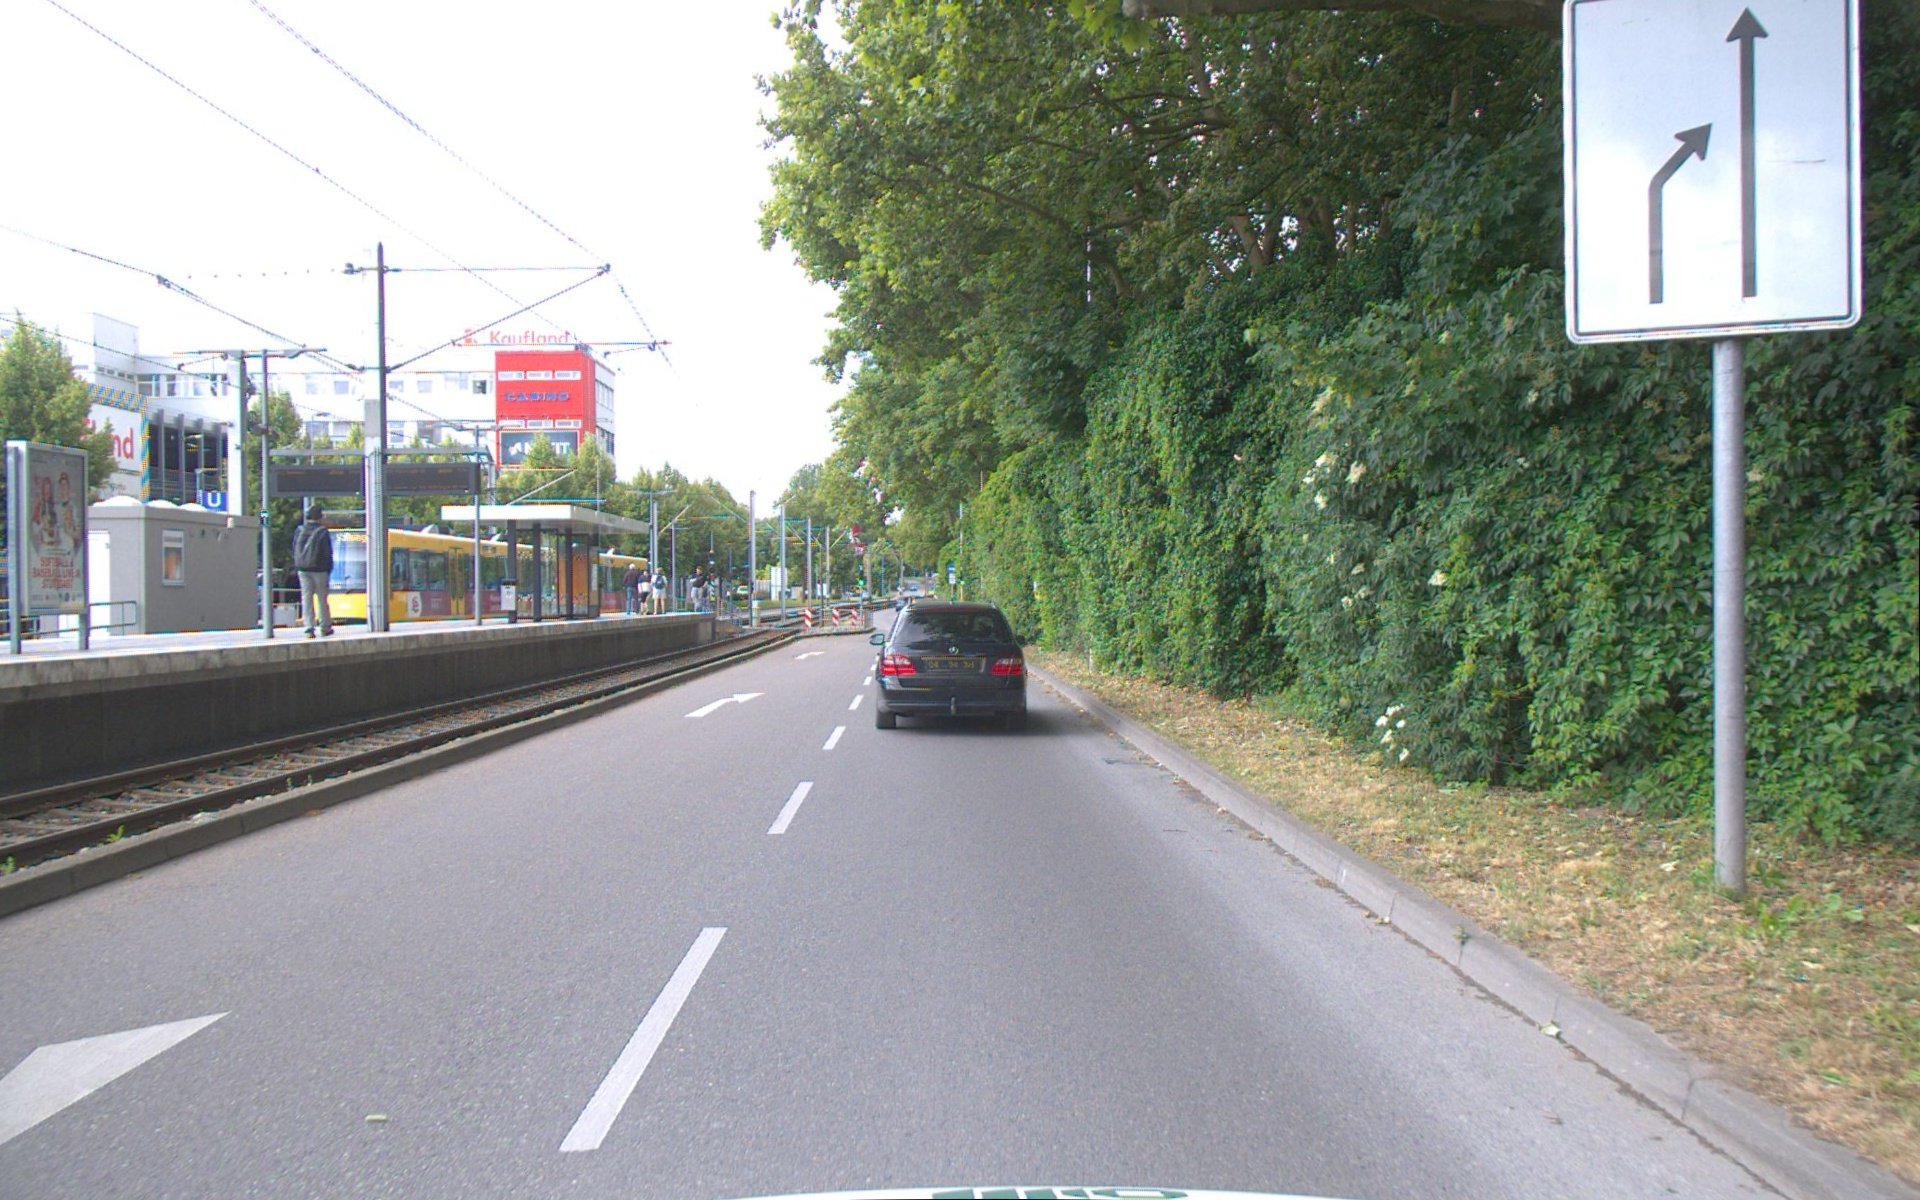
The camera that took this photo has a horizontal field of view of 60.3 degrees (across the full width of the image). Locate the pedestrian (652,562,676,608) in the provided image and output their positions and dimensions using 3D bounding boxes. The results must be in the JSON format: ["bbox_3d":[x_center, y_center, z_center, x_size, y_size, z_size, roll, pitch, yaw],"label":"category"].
[{"bbox_3d":[-9.830,-0.492,54.932,0.510,1.508,0.579,-2,0,36],"label":"pedestrian"}]

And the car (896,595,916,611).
[{"bbox_3d":[-5.171,0.277,158.999,1.788,1.556,4.416,-1,0,0],"label":"car"}]

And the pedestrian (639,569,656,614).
[{"bbox_3d":[-10.548,-0.291,55.736,0.467,1.509,0.540,-2,0,-16],"label":"pedestrian"}]

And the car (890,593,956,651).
[{"bbox_3d":[-1.078,0.604,47.186,1.788,1.556,4.414,-1,0,-2],"label":"car"}]

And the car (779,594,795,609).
[{"bbox_3d":[-25.376,0.252,243.203,1.953,2.049,3.998,-2,0,-2],"label":"car"}]

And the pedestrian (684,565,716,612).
[{"bbox_3d":[-9.646,-0.421,61.363,0.732,1.707,0.871,-2,0,42],"label":"pedestrian"}]

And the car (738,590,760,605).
[{"bbox_3d":[-26.981,-0.333,212.086,1.952,1.773,4.989,-1,0,2],"label":"car"}]

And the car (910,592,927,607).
[{"bbox_3d":[-4.578,-0.083,182.051,1.788,1.556,3.927,0,0,0],"label":"car"}]

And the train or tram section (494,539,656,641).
[{"bbox_3d":[-16.617,-0.323,73.314,2.700,3.896,18.630,-1,0,0],"label":"train or tram section"}]

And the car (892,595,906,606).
[{"bbox_3d":[-8.602,0.052,232.703,1.788,1.556,3.986,0,0,0],"label":"car"}]

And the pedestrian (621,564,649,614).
[{"bbox_3d":[-11.165,-0.376,56.793,0.755,1.707,0.790,-2,0,-2],"label":"pedestrian"}]

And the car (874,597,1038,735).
[{"bbox_3d":[-0.071,0.723,20.405,1.796,1.504,4.415,0,0,-1],"label":"car"}]

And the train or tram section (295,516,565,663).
[{"bbox_3d":[-16.754,-0.322,54.645,2.700,3.950,18.632,-1,0,0],"label":"train or tram section"}]

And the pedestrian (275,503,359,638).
[{"bbox_3d":[-8.697,-0.392,22.396,0.733,1.774,0.936,-2,0,-2],"label":"pedestrian"}]

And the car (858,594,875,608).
[{"bbox_3d":[-10.657,0.092,188.741,1.788,1.556,3.927,0,0,0],"label":"car"}]
